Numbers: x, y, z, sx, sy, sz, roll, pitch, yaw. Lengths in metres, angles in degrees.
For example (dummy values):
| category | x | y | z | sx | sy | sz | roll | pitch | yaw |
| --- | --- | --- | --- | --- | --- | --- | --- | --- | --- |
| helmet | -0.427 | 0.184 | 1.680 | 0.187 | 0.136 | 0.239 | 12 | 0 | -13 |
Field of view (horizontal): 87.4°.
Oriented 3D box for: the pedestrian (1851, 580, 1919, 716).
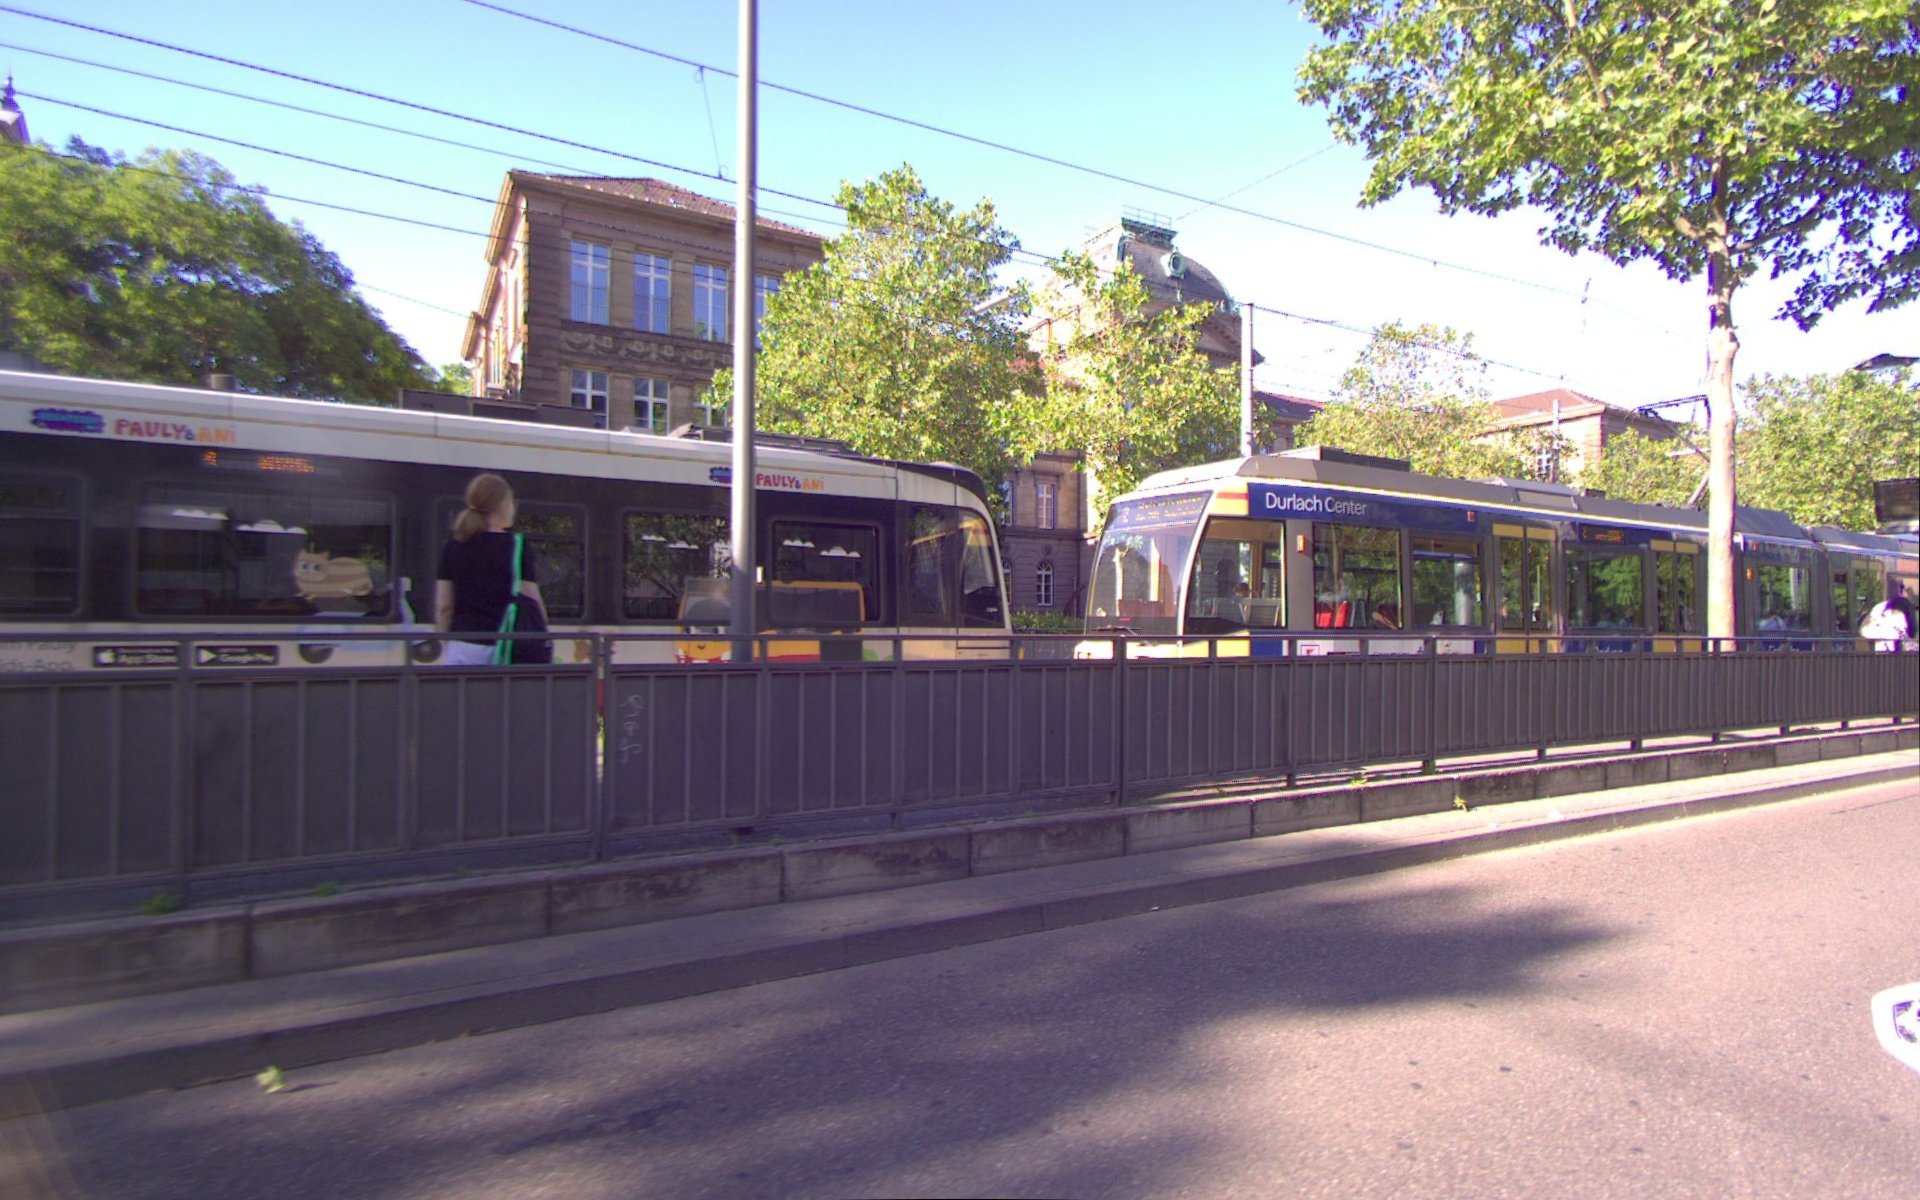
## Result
| category | x | y | z | sx | sy | sz | roll | pitch | yaw |
| --- | --- | --- | --- | --- | --- | --- | --- | --- | --- |
| pedestrian | 12.697 | 0.644 | 13.590 | 0.715 | 1.775 | 0.771 | 1 | -2 | -33 |

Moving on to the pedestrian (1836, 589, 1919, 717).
| category | x | y | z | sx | sy | sz | roll | pitch | yaw |
| --- | --- | --- | --- | --- | --- | --- | --- | --- | --- |
| pedestrian | 11.584 | 0.651 | 12.542 | 0.744 | 1.529 | 0.771 | 1 | -2 | -33 |

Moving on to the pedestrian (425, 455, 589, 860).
| category | x | y | z | sx | sy | sz | roll | pitch | yaw |
| --- | --- | --- | --- | --- | --- | --- | --- | --- | --- |
| pedestrian | -2.044 | 0.244 | 4.524 | 0.614 | 1.661 | 0.564 | 1 | -1 | -28 |

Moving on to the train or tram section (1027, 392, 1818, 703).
| category | x | y | z | sx | sy | sz | roll | pitch | yaw |
| --- | --- | --- | --- | --- | --- | --- | --- | --- | --- |
| train or tram section | 8.398 | -0.295 | 15.911 | 15.708 | 3.303 | 2.900 | 2 | -1 | -30 |

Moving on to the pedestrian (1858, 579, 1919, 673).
| category | x | y | z | sx | sy | sz | roll | pitch | yaw |
| --- | --- | --- | --- | --- | --- | --- | --- | --- | --- |
| pedestrian | 13.352 | 0.382 | 14.421 | 0.598 | 1.316 | 0.531 | 1 | -2 | -33 |

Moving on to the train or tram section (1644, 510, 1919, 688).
| category | x | y | z | sx | sy | sz | roll | pitch | yaw |
| --- | --- | --- | --- | --- | --- | --- | --- | --- | --- |
| train or tram section | 20.745 | 0.208 | 23.183 | 12.960 | 3.303 | 2.900 | 2 | -1 | -30 |

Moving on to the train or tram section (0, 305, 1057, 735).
| category | x | y | z | sx | sy | sz | roll | pitch | yaw |
| --- | --- | --- | --- | --- | --- | --- | --- | --- | --- |
| train or tram section | -7.191 | -0.620 | 10.106 | 17.998 | 3.480 | 2.835 | 1 | 0 | -30 |
